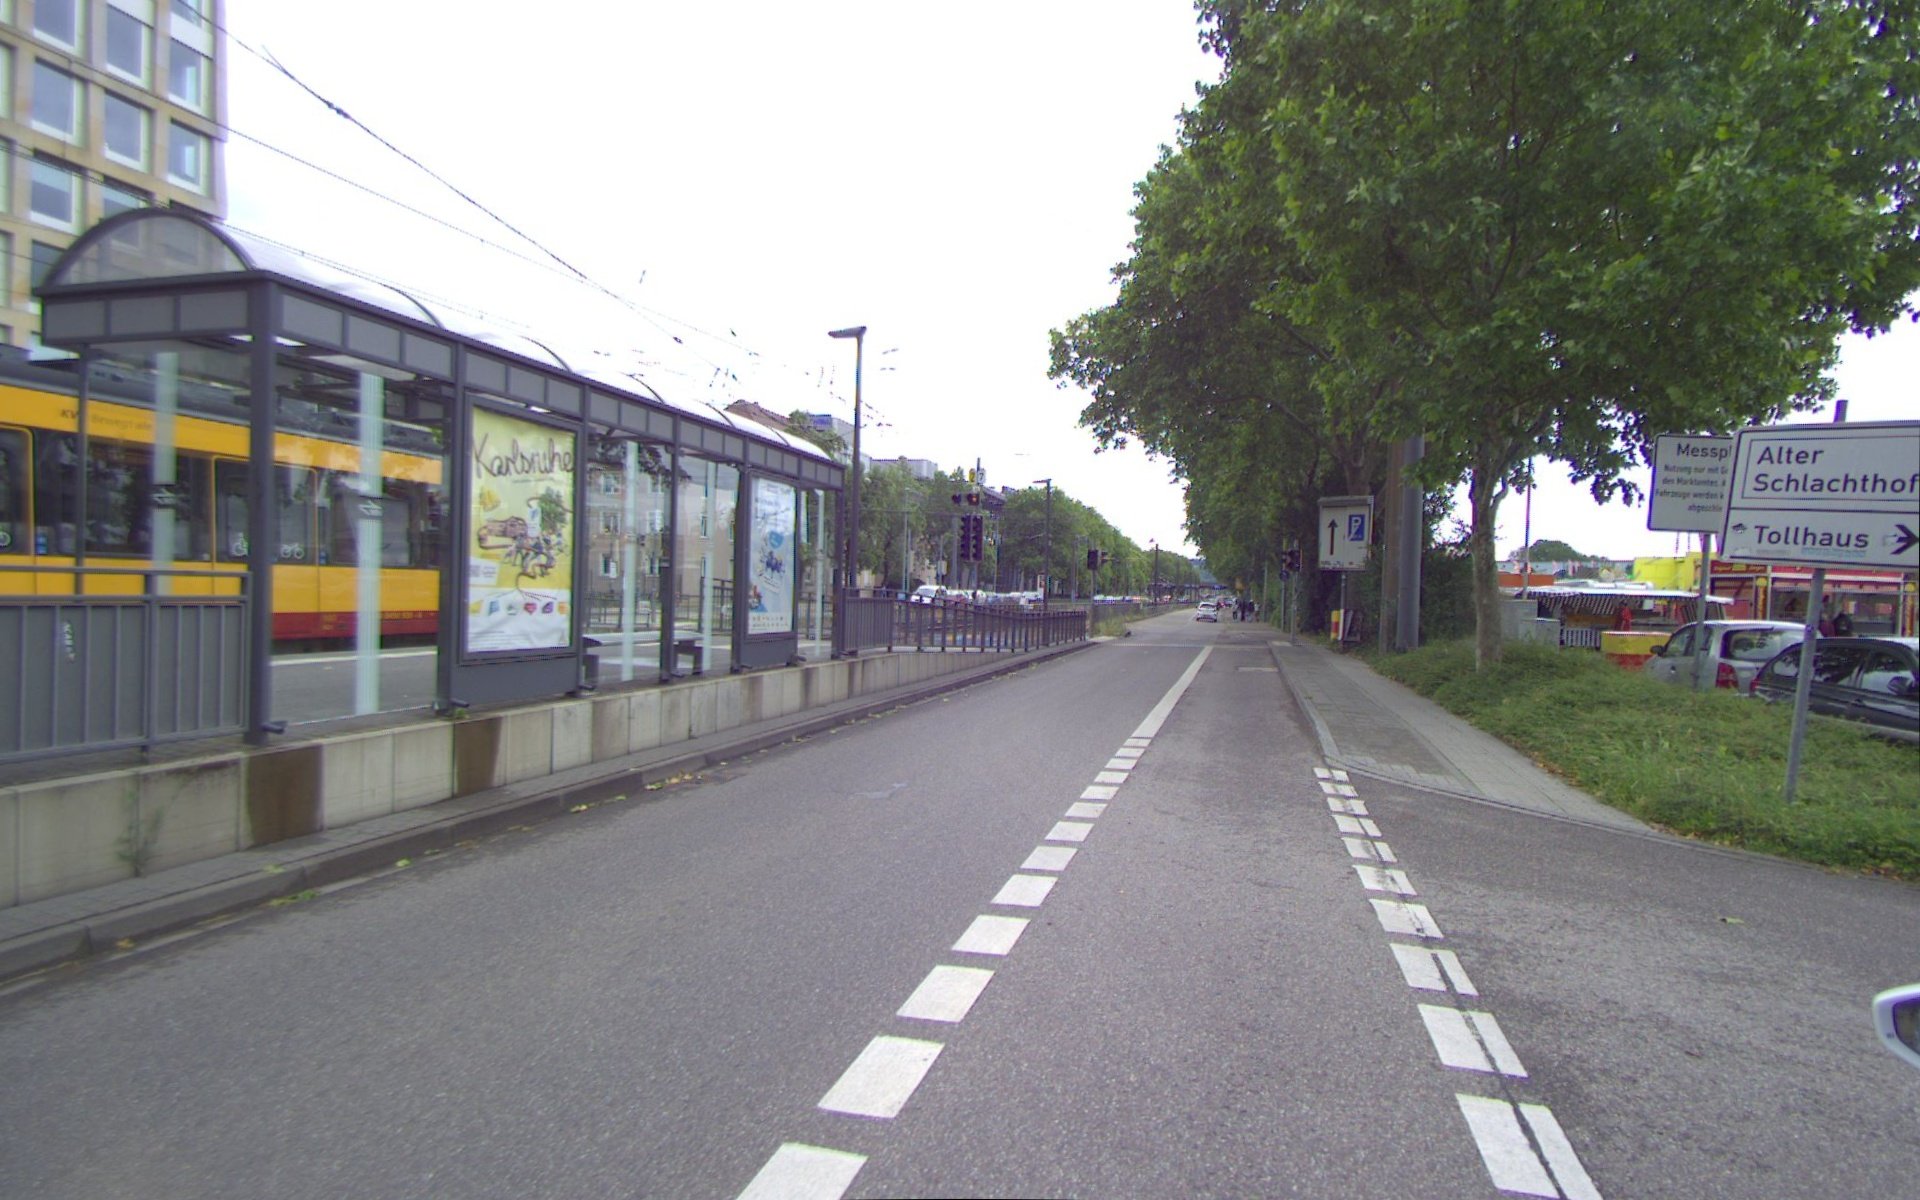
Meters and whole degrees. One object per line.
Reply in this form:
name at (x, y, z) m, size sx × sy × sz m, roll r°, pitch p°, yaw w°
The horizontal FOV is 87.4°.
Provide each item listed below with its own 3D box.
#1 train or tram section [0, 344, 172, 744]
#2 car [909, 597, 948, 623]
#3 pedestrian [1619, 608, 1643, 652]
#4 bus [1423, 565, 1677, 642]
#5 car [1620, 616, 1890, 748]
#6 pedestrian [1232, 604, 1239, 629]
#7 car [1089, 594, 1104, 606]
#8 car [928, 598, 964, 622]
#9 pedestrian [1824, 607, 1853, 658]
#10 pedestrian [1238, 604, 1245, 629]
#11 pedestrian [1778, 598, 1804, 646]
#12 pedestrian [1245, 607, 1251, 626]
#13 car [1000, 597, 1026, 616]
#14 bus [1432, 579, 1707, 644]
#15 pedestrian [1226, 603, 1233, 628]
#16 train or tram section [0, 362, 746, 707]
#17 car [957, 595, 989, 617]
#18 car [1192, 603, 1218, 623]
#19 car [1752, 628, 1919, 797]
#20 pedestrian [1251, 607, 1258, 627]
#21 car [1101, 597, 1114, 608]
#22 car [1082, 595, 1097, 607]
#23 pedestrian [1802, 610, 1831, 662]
train or tram section at (-13.190, -0.686, 5.641) m, size 3.126 × 4.234 × 14.740 m, roll 1°, pitch 0°, yaw 16°
car at (-2.272, 0.735, 73.790) m, size 1.959 × 1.818 × 4.002 m, roll 1°, pitch 0°, yaw 12°
pedestrian at (22.655, 1.010, 33.910) m, size 0.484 × 1.482 × 0.524 m, roll 1°, pitch 0°, yaw 13°
bus at (24.944, 0.116, 42.900) m, size 9.119 × 2.999 × 2.001 m, roll 1°, pitch 0°, yaw 13°
car at (11.590, 1.086, 15.017) m, size 1.832 × 1.615 × 4.001 m, roll 1°, pitch 0°, yaw 18°
pedestrian at (22.544, 1.319, 82.156) m, size 0.390 × 2.040 × 0.402 m, roll 1°, pitch 0°, yaw 31°
car at (21.718, -0.060, 159.959) m, size 1.959 × 1.818 × 4.002 m, roll 1°, pitch 0°, yaw 12°
car at (-1.057, 0.788, 79.588) m, size 1.959 × 1.818 × 4.002 m, roll 1°, pitch 0°, yaw 12°
pedestrian at (29.919, 1.105, 34.210) m, size 0.513 × 1.709 × 0.494 m, roll 1°, pitch 0°, yaw -1°
pedestrian at (22.967, 1.330, 81.931) m, size 0.390 × 2.040 × 0.402 m, roll 1°, pitch 0°, yaw 31°
pedestrian at (30.163, 0.798, 36.462) m, size 0.484 × 1.709 × 0.524 m, roll 1°, pitch 0°, yaw 13°
pedestrian at (22.558, 1.308, 78.747) m, size 0.389 × 1.464 × 0.563 m, roll 1°, pitch 0°, yaw 14°
car at (5.341, 0.675, 101.458) m, size 1.959 × 1.818 × 4.002 m, roll 1°, pitch 0°, yaw 12°
bus at (23.950, 0.424, 39.932) m, size 9.119 × 2.257 × 2.001 m, roll 1°, pitch 0°, yaw 13°
pedestrian at (22.086, 1.285, 82.386) m, size 0.390 × 2.040 × 0.402 m, roll 1°, pitch 0°, yaw 31°
train or tram section at (-9.189, -0.764, 19.863) m, size 3.126 × 4.234 × 14.740 m, roll 1°, pitch 0°, yaw 16°
car at (1.110, 0.511, 86.316) m, size 1.959 × 1.818 × 4.002 m, roll 1°, pitch 0°, yaw 12°
car at (19.724, 1.025, 80.771) m, size 1.810 × 1.573 × 4.001 m, roll 1°, pitch 0°, yaw 17°
car at (9.551, 1.053, 9.298) m, size 1.831 × 1.449 × 4.002 m, roll 1°, pitch 0°, yaw 11°
pedestrian at (23.066, 1.321, 78.579) m, size 0.389 × 1.606 × 0.538 m, roll 1°, pitch 0°, yaw 6°
car at (26.003, 0.446, 176.889) m, size 1.959 × 1.818 × 4.002 m, roll 1°, pitch 0°, yaw 12°
car at (19.932, 0.210, 155.009) m, size 1.959 × 1.818 × 4.002 m, roll 1°, pitch 0°, yaw 12°
pedestrian at (29.099, 1.217, 34.136) m, size 0.513 × 1.709 × 0.494 m, roll 1°, pitch 0°, yaw -1°
